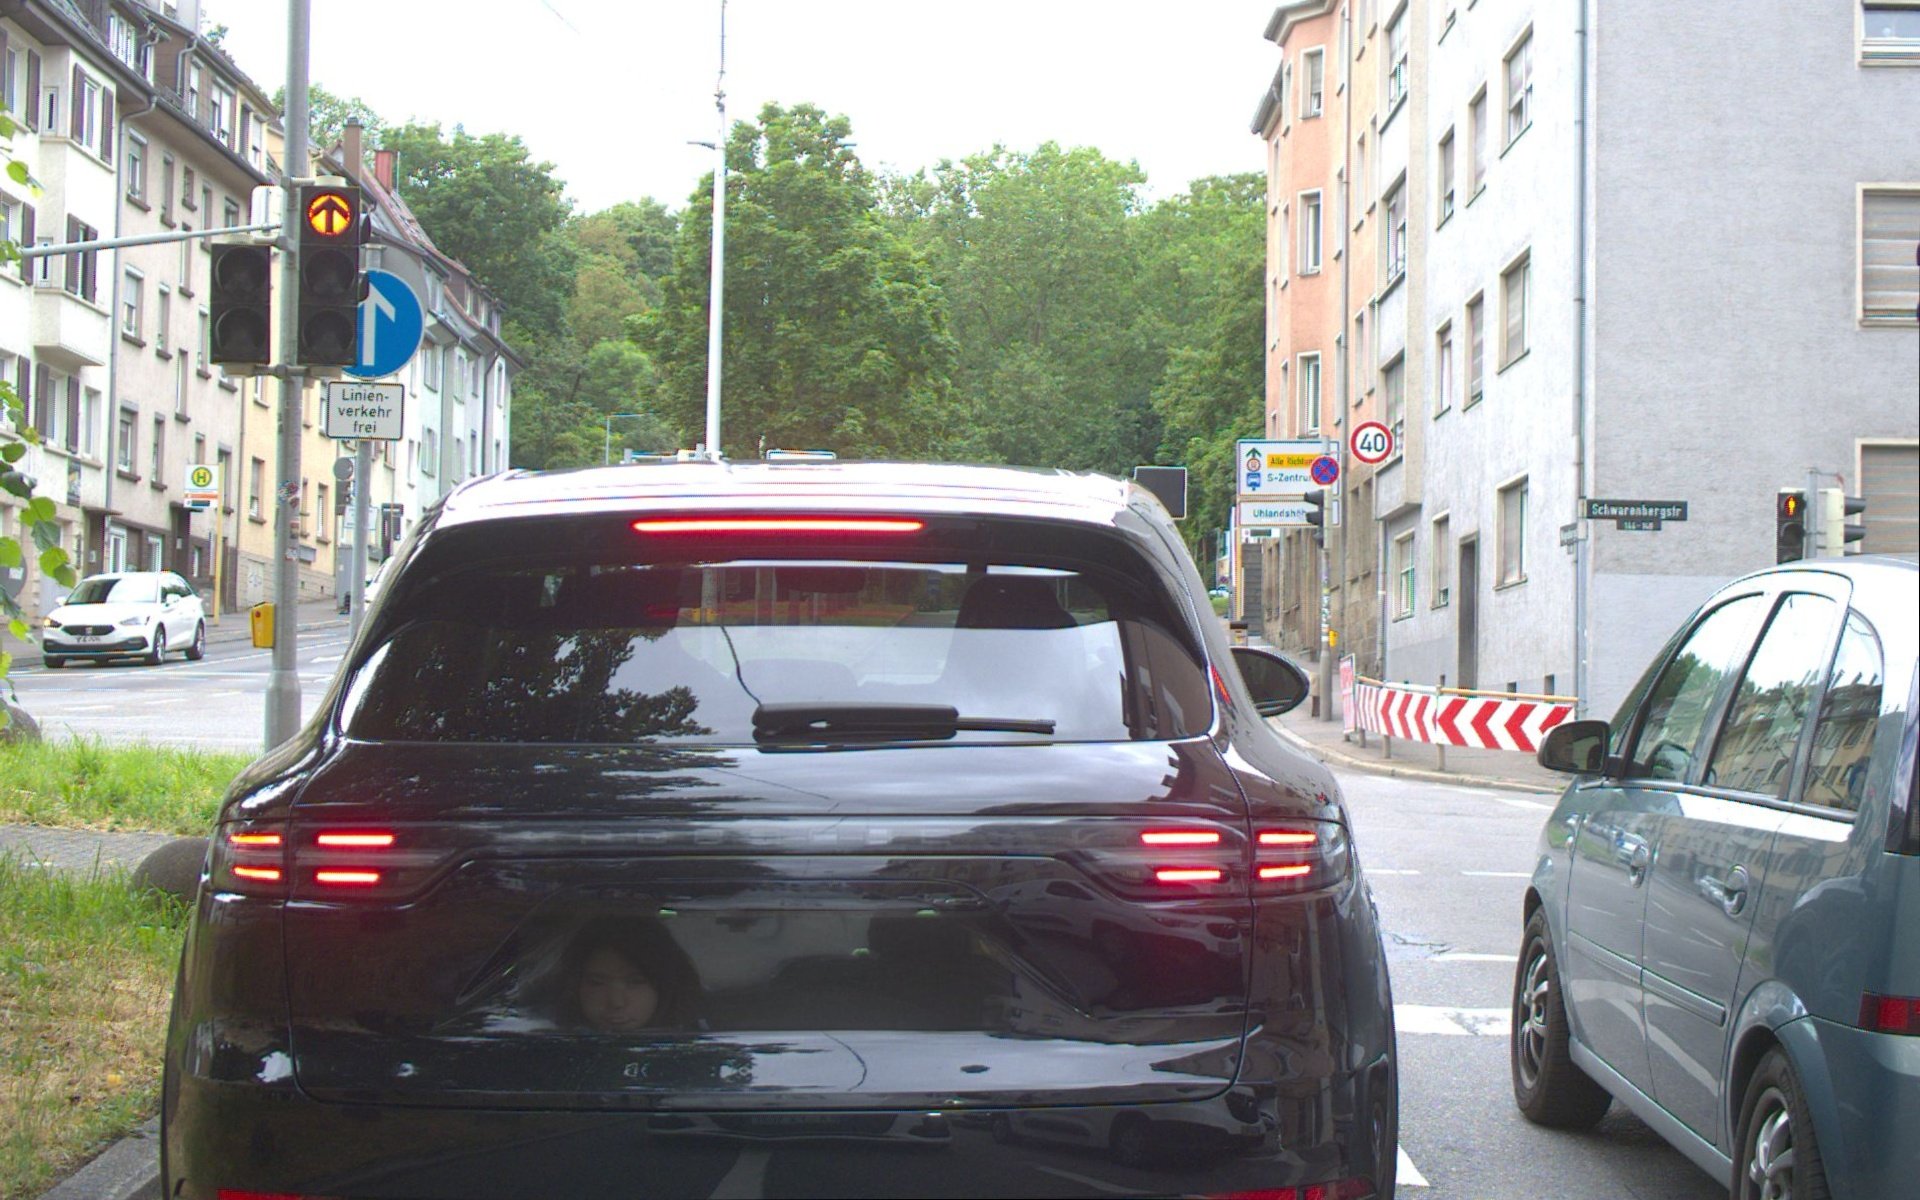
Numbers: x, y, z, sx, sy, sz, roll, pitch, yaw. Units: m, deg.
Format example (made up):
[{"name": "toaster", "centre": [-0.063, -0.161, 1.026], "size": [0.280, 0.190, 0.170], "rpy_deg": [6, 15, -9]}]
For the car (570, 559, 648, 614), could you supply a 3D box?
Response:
[{"name": "car", "centre": [-9.919, -0.364, 97.382], "size": [1.619, 1.475, 3.823], "rpy_deg": [1, -1, 3]}]

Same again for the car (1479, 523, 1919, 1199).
[{"name": "car", "centre": [2.351, 0.693, 7.877], "size": [1.628, 1.592, 3.669], "rpy_deg": [4, 1, -1]}]

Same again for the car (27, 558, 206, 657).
[{"name": "car", "centre": [-13.198, 0.092, 54.003], "size": [1.844, 1.481, 3.898], "rpy_deg": [1, 1, 0]}]

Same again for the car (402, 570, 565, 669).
[{"name": "car", "centre": [-7.030, 0.262, 51.073], "size": [1.862, 1.383, 4.094], "rpy_deg": [1, 1, 0]}]

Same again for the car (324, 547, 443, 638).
[{"name": "car", "centre": [-10.688, -0.162, 63.980], "size": [1.973, 1.605, 4.559], "rpy_deg": [1, 1, -7]}]

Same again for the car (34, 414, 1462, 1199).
[{"name": "car", "centre": [-0.313, 0.562, 6.716], "size": [1.955, 1.669, 4.000], "rpy_deg": [0, 1, -1]}]
